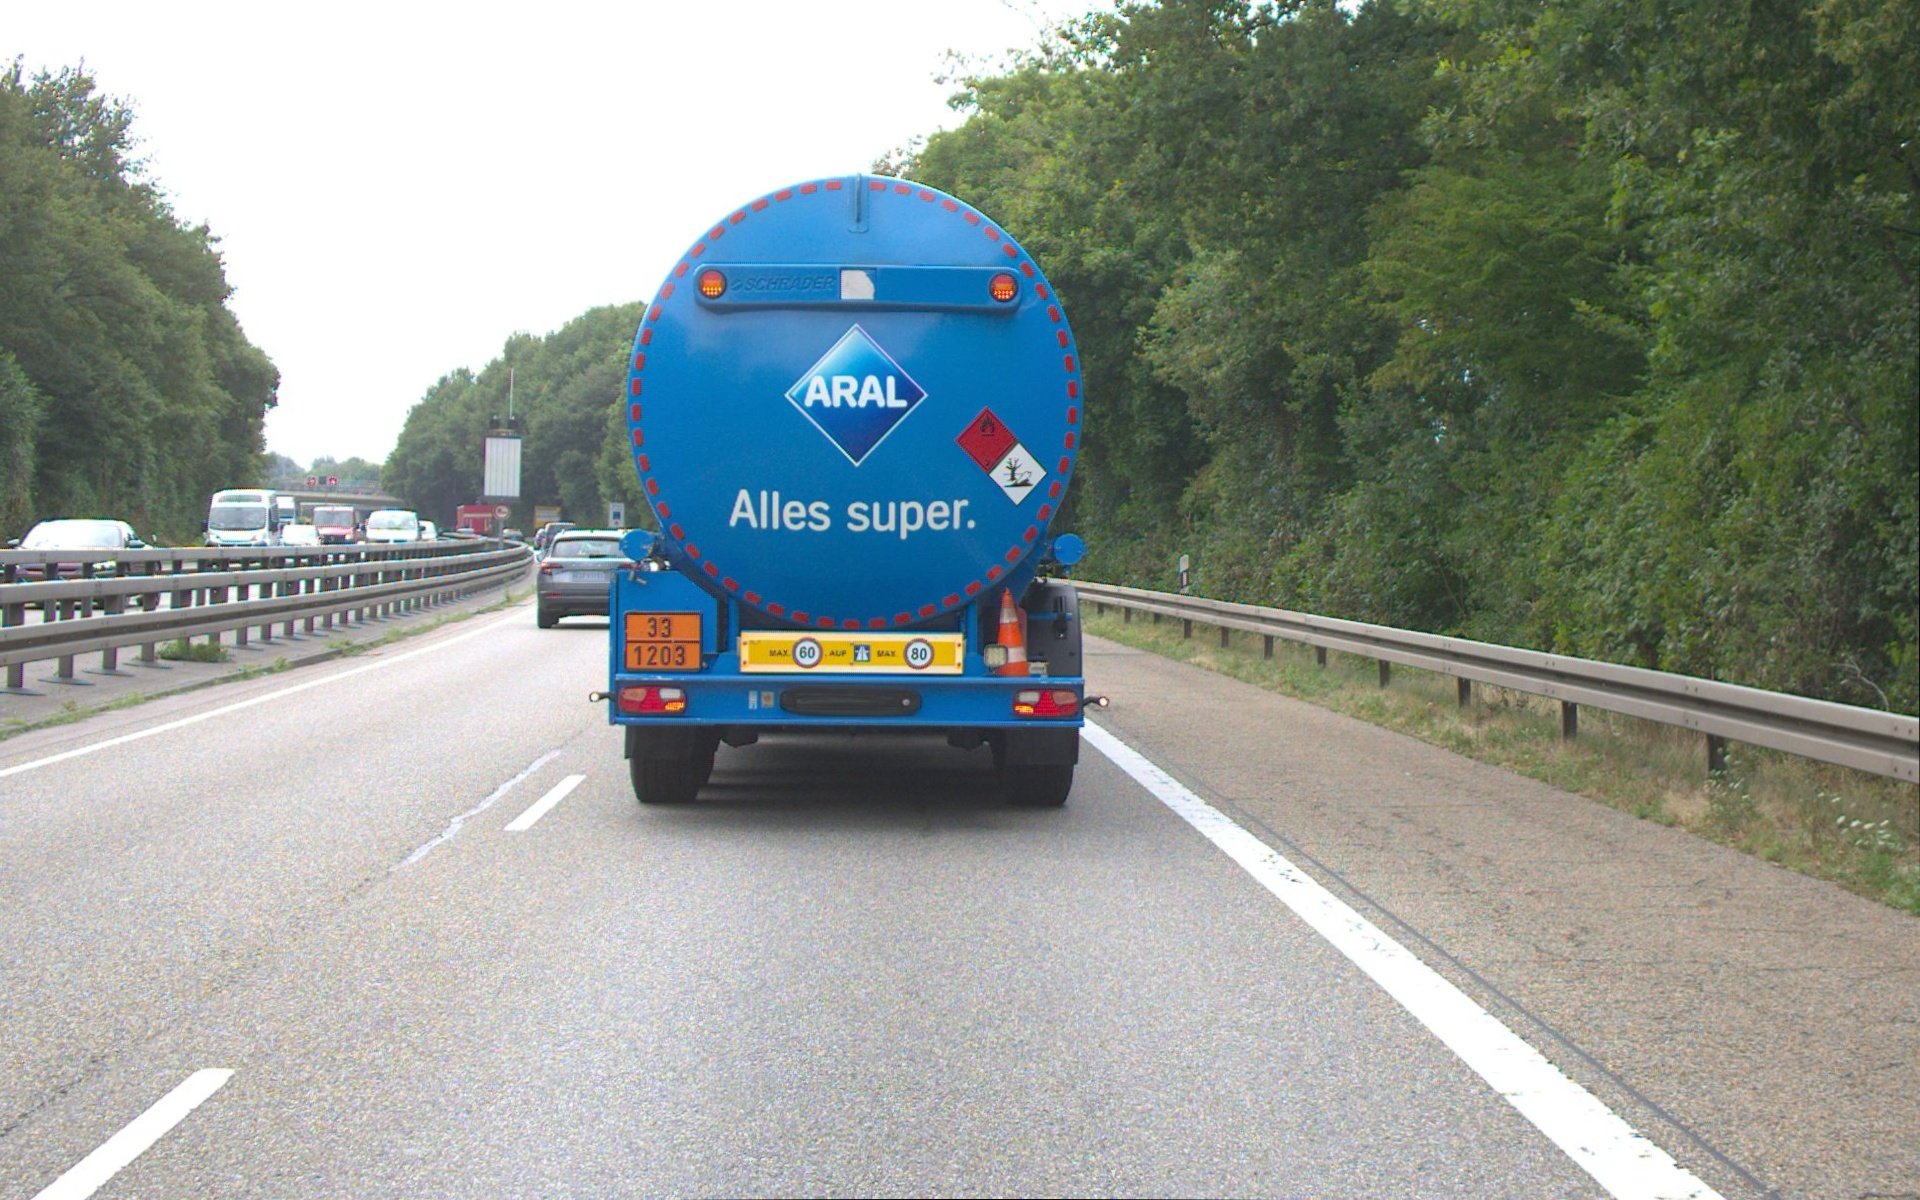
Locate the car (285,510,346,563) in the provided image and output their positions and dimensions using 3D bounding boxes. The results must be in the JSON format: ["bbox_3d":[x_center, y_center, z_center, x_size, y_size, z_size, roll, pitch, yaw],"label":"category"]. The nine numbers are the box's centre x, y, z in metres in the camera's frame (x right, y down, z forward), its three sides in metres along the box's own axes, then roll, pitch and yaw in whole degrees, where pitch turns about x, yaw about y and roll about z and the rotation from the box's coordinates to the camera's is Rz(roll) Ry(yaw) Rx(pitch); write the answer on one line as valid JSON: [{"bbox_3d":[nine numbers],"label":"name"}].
[{"bbox_3d":[-27.549,-2.705,147.101,2.066,2.248,5.376,0,1,-5],"label":"car"}]

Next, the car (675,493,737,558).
[{"bbox_3d":[-8.898,-2.608,120.645,1.993,2.237,4.000,0,1,-2],"label":"car"}]

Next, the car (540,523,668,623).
[{"bbox_3d":[-5.908,-0.467,57.456,1.826,1.604,4.168,0,1,-2],"label":"car"}]

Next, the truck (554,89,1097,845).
[{"bbox_3d":[-0.680,-0.758,21.318,2.755,3.833,7.689,0,1,0],"label":"truck"}]

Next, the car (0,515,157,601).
[{"bbox_3d":[-13.828,-0.663,53.620,1.655,1.274,4.713,0,1,-2],"label":"car"}]

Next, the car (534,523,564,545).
[{"bbox_3d":[-29.604,-4.766,247.638,1.993,1.546,4.001,0,1,-9],"label":"car"}]

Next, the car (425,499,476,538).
[{"bbox_3d":[-20.847,-3.338,140.825,1.781,1.558,4.015,0,1,-4],"label":"car"}]

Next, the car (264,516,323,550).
[{"bbox_3d":[-25.889,-2.590,133.619,1.774,1.292,4.108,0,1,-4],"label":"car"}]

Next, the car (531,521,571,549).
[{"bbox_3d":[-22.629,-3.601,190.233,1.993,1.546,4.001,0,1,-10],"label":"car"}]

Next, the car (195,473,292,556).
[{"bbox_3d":[-23.168,-2.740,111.388,2.311,2.602,5.554,0,1,-4],"label":"car"}]

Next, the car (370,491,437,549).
[{"bbox_3d":[-19.341,-2.777,119.691,1.821,1.976,5.058,0,1,-4],"label":"car"}]
